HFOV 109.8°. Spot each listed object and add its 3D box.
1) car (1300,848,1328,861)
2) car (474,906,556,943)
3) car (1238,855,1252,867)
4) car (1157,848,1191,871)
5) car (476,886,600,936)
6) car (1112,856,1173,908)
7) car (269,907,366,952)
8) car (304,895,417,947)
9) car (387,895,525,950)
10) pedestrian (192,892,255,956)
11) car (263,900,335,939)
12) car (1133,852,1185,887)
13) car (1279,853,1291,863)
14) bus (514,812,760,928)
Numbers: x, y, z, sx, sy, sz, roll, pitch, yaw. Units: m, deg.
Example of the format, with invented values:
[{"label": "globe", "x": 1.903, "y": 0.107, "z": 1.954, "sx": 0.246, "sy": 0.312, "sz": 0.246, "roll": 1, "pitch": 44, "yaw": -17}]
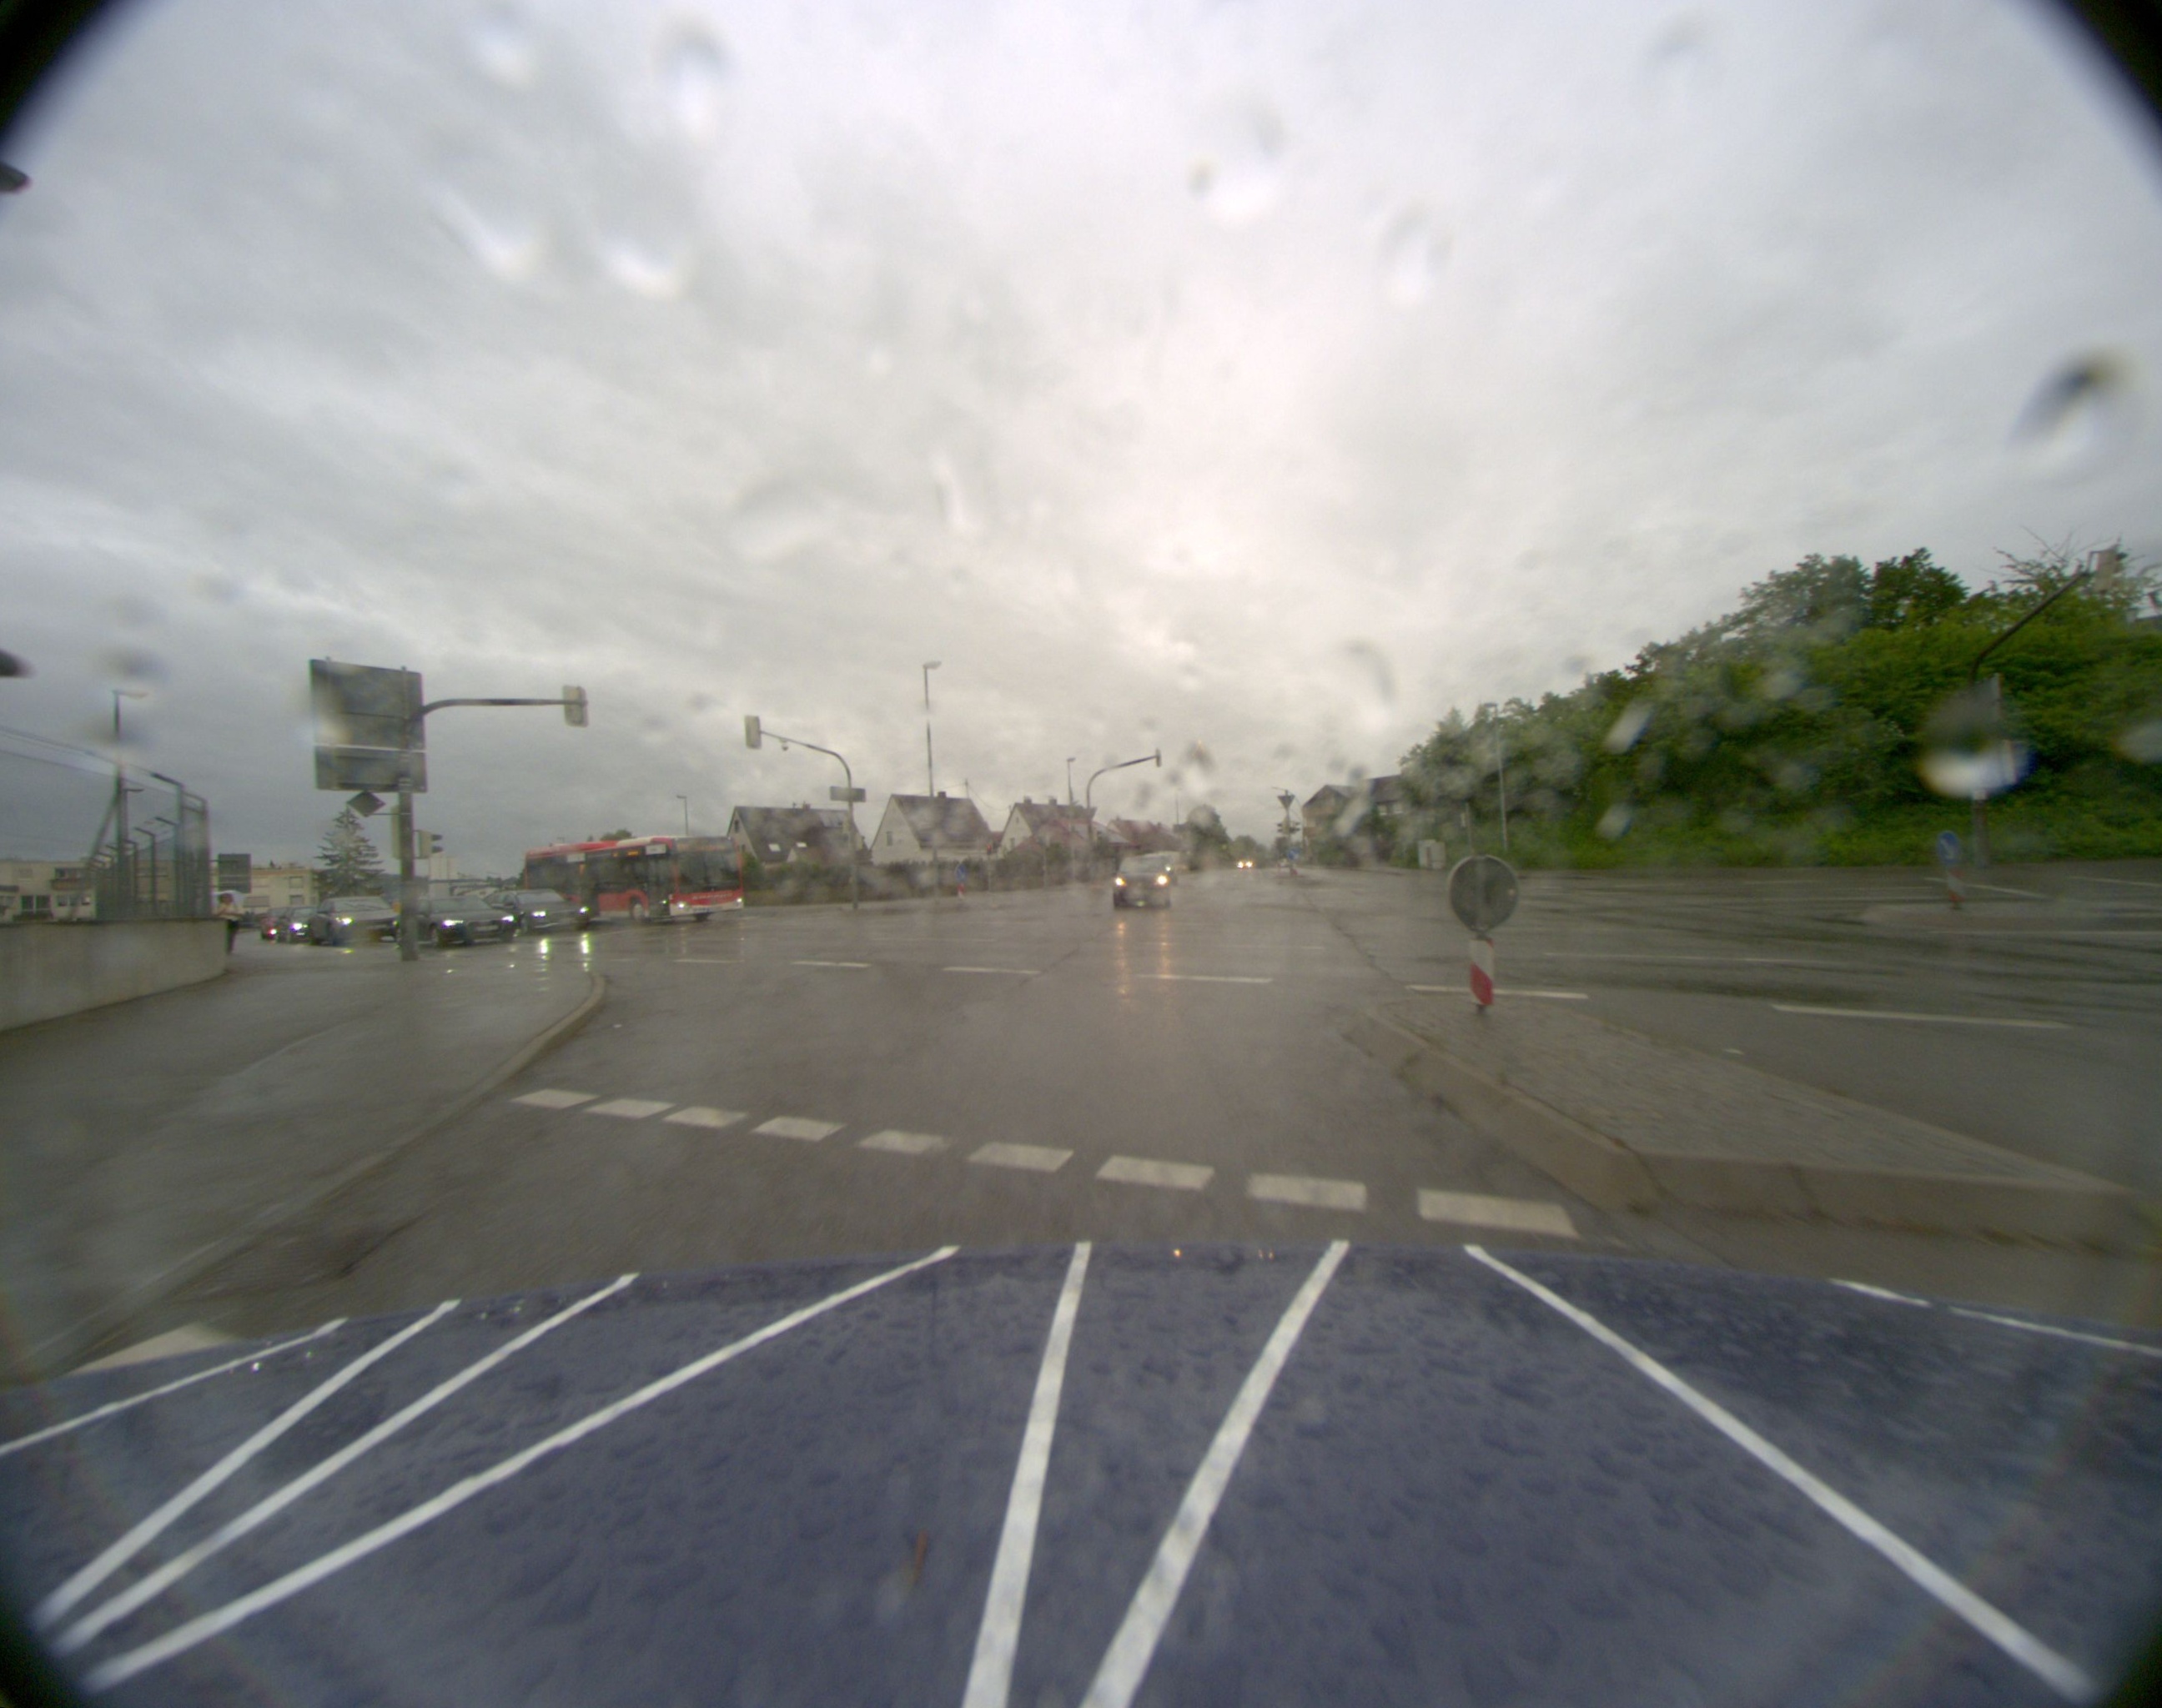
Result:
[{"label": "car", "x": 32.756, "y": 0.045, "z": 106.771, "sx": 4.007, "sy": 1.538, "sz": 1.662, "roll": -3, "pitch": 1, "yaw": -40}, {"label": "car", "x": -27.012, "y": 3.311, "z": 36.215, "sx": 3.989, "sy": 1.489, "sz": 1.856, "roll": -2, "pitch": 1, "yaw": 34}, {"label": "car", "x": 23.264, "y": 0.911, "z": 107.710, "sx": 1.756, "sy": 1.547, "sz": 3.922, "roll": -3, "pitch": 0, "yaw": 10}, {"label": "car", "x": 10.289, "y": 0.539, "z": 83.827, "sx": 1.650, "sy": 2.337, "sz": 4.008, "roll": -3, "pitch": 0, "yaw": 43}, {"label": "car", "x": -18.796, "y": 1.959, "z": 26.250, "sx": 4.580, "sy": 1.459, "sz": 1.906, "roll": -3, "pitch": 0, "yaw": 33}, {"label": "car", "x": 1.960, "y": 0.811, "z": 23.575, "sx": 1.665, "sy": 1.410, "sz": 3.934, "roll": -3, "pitch": 0, "yaw": 6}, {"label": "car", "x": -30.497, "y": 2.985, "z": 30.324, "sx": 4.382, "sy": 1.529, "sz": 1.829, "roll": -3, "pitch": 0, "yaw": 33}, {"label": "car", "x": -25.059, "y": 2.294, "z": 26.385, "sx": 4.382, "sy": 1.529, "sz": 1.829, "roll": -3, "pitch": 0, "yaw": 33}, {"label": "car", "x": -18.262, "y": 1.976, "z": 22.164, "sx": 4.382, "sy": 1.346, "sz": 1.829, "roll": -3, "pitch": 0, "yaw": 33}, {"label": "pedestrian", "x": -22.156, "y": 1.780, "z": 19.639, "sx": 0.871, "sy": 1.600, "sz": 0.872, "roll": -2, "pitch": -3, "yaw": 30}, {"label": "car", "x": -35.791, "y": 2.961, "z": 34.748, "sx": 3.970, "sy": 1.499, "sz": 1.875, "roll": -2, "pitch": 1, "yaw": 39}, {"label": "car", "x": 3.769, "y": 0.714, "z": 36.172, "sx": 1.896, "sy": 1.474, "sz": 4.004, "roll": -3, "pitch": -1, "yaw": 13}, {"label": "car", "x": 33.437, "y": 0.629, "z": 124.773, "sx": 1.623, "sy": 1.496, "sz": 3.825, "roll": -1, "pitch": 0, "yaw": 10}, {"label": "bus", "x": -17.510, "y": 0.805, "z": 29.376, "sx": 12.261, "sy": 3.555, "sz": 2.992, "roll": -5, "pitch": -1, "yaw": 34}]
